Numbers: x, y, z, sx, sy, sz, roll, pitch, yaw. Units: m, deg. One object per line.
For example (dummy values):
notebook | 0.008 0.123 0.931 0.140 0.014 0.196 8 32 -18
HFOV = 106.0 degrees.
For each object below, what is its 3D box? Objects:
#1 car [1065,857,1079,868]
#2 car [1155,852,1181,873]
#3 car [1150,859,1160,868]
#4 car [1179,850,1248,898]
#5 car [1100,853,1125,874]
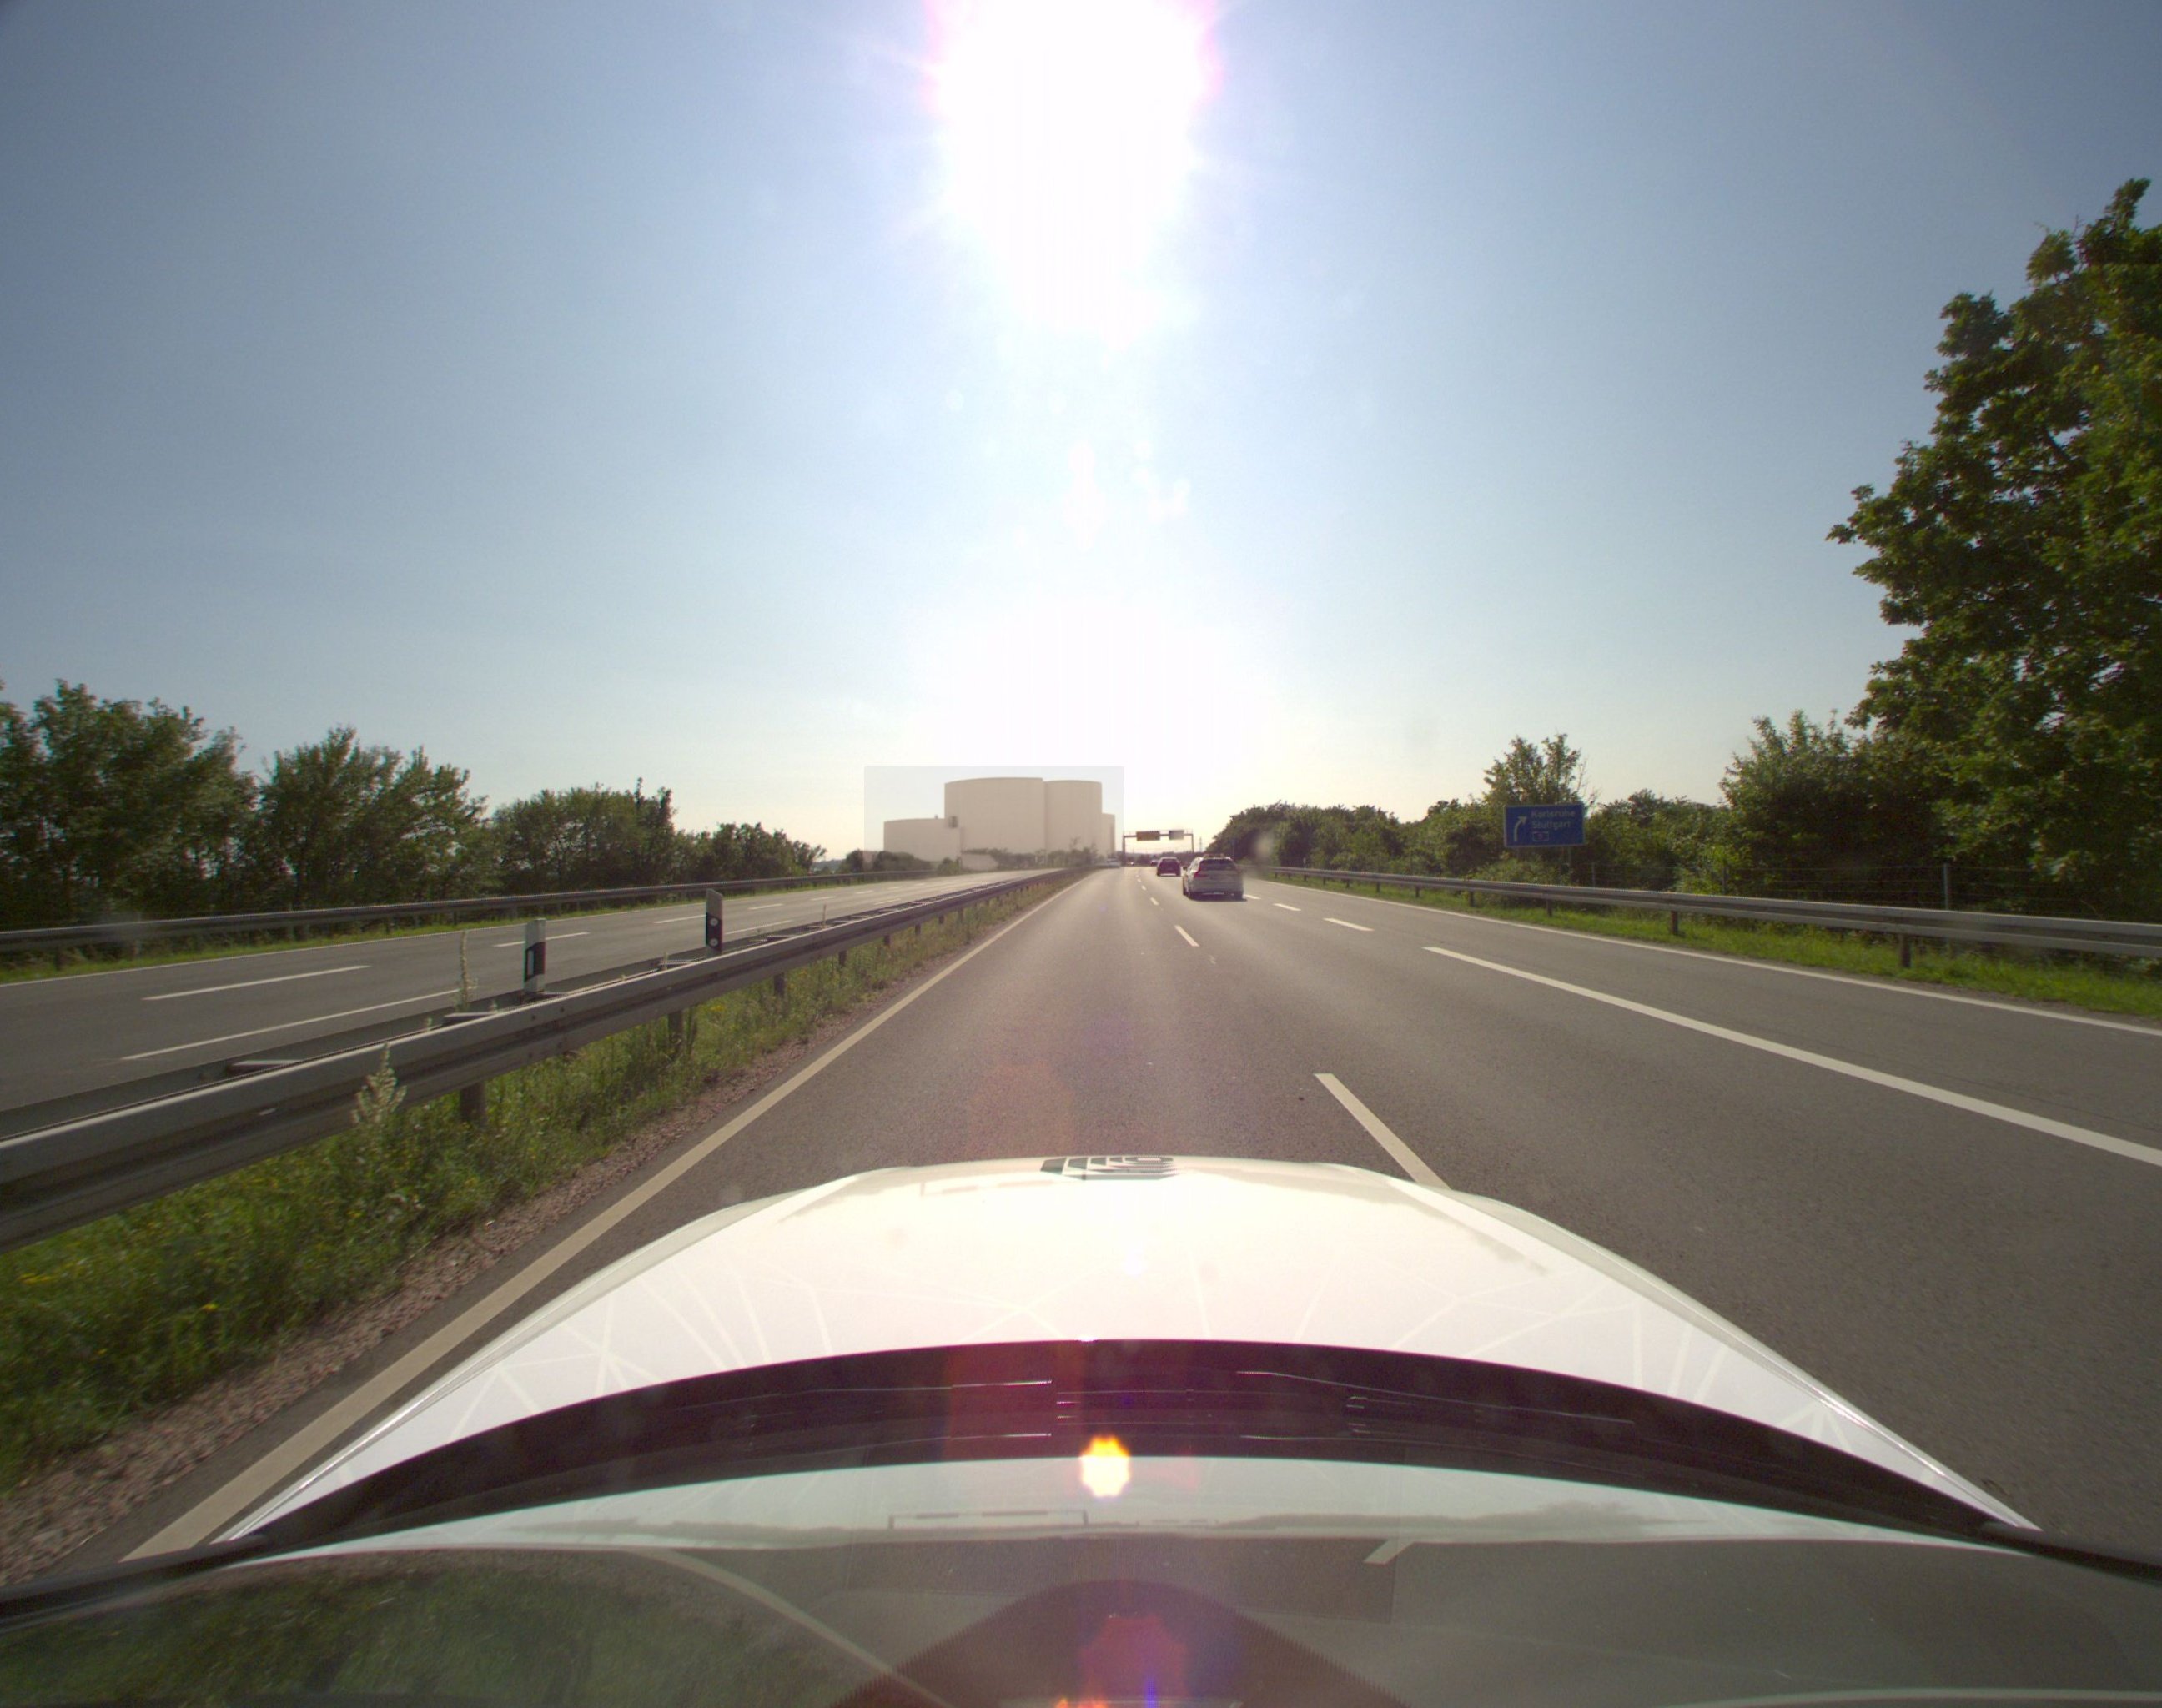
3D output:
car | -1.258 1.236 116.361 1.703 1.486 4.268 0 0 3
car | 6.631 0.639 62.428 1.785 1.543 3.674 -1 -1 3
car | 16.168 2.070 177.785 1.985 2.014 4.003 0 0 3
car | 4.730 0.695 29.530 1.951 1.601 4.109 0 0 2
car | 2.513 0.770 64.023 1.785 1.503 4.047 -2 -1 4
